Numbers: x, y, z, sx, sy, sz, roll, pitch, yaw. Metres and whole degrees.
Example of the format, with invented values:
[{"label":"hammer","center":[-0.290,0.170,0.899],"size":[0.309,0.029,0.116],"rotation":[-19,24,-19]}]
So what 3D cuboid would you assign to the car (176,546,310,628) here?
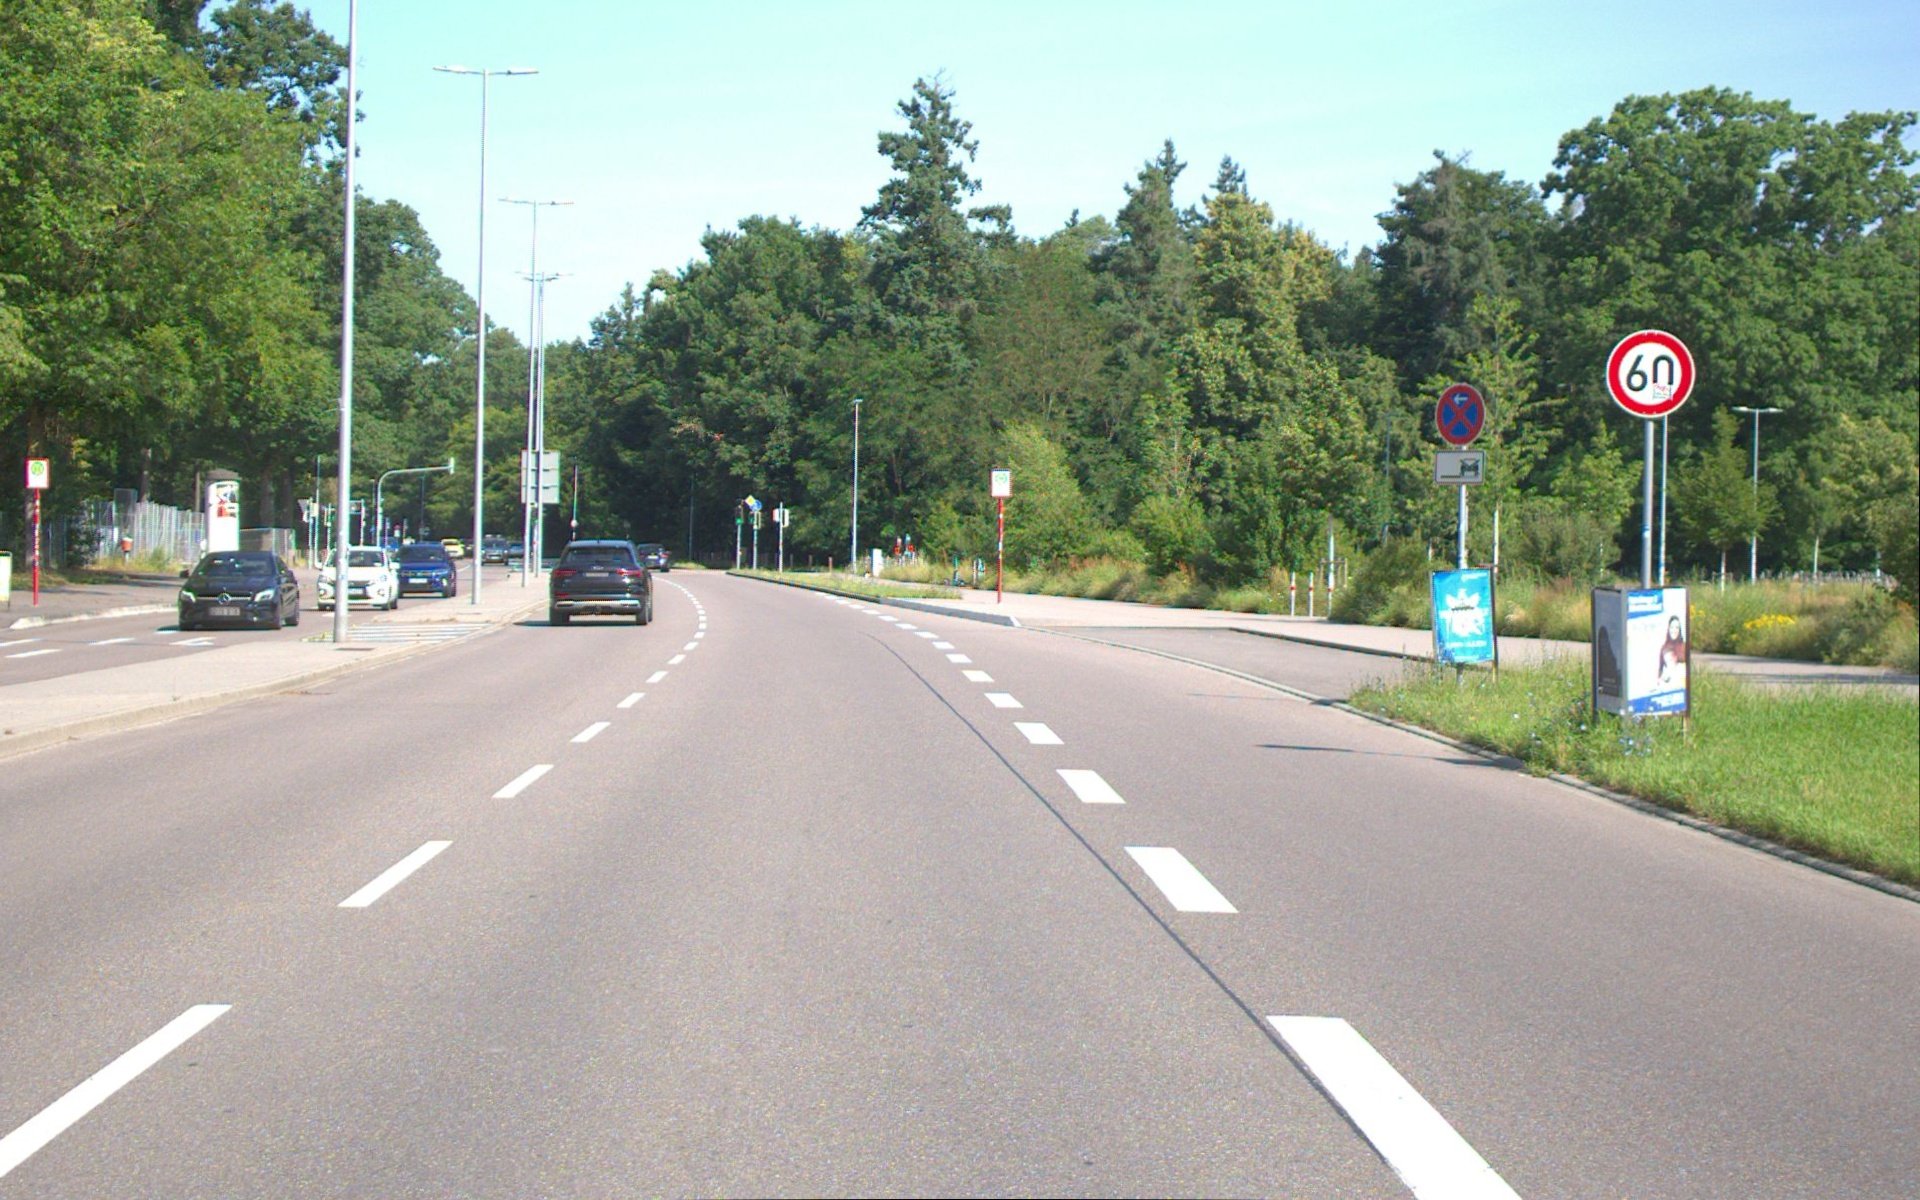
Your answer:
[{"label":"car","center":[-12.914,-0.264,62.095],"size":[1.810,1.383,4.162],"rotation":[-1,1,-4]}]

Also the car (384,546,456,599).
[{"label":"car","center":[-15.456,-0.800,98.563],"size":[1.753,1.481,3.948],"rotation":[-1,1,-5]}]

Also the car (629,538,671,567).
[{"label":"car","center":[-15.623,-2.398,173.214],"size":[1.940,1.415,4.294],"rotation":[1,1,-7]}]

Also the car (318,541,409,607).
[{"label":"car","center":[-13.809,-0.622,79.749],"size":[1.623,1.461,3.801],"rotation":[-1,1,-3]}]

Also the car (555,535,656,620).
[{"label":"car","center":[-6.591,-0.448,64.251],"size":[1.687,1.539,4.149],"rotation":[0,1,-3]}]
